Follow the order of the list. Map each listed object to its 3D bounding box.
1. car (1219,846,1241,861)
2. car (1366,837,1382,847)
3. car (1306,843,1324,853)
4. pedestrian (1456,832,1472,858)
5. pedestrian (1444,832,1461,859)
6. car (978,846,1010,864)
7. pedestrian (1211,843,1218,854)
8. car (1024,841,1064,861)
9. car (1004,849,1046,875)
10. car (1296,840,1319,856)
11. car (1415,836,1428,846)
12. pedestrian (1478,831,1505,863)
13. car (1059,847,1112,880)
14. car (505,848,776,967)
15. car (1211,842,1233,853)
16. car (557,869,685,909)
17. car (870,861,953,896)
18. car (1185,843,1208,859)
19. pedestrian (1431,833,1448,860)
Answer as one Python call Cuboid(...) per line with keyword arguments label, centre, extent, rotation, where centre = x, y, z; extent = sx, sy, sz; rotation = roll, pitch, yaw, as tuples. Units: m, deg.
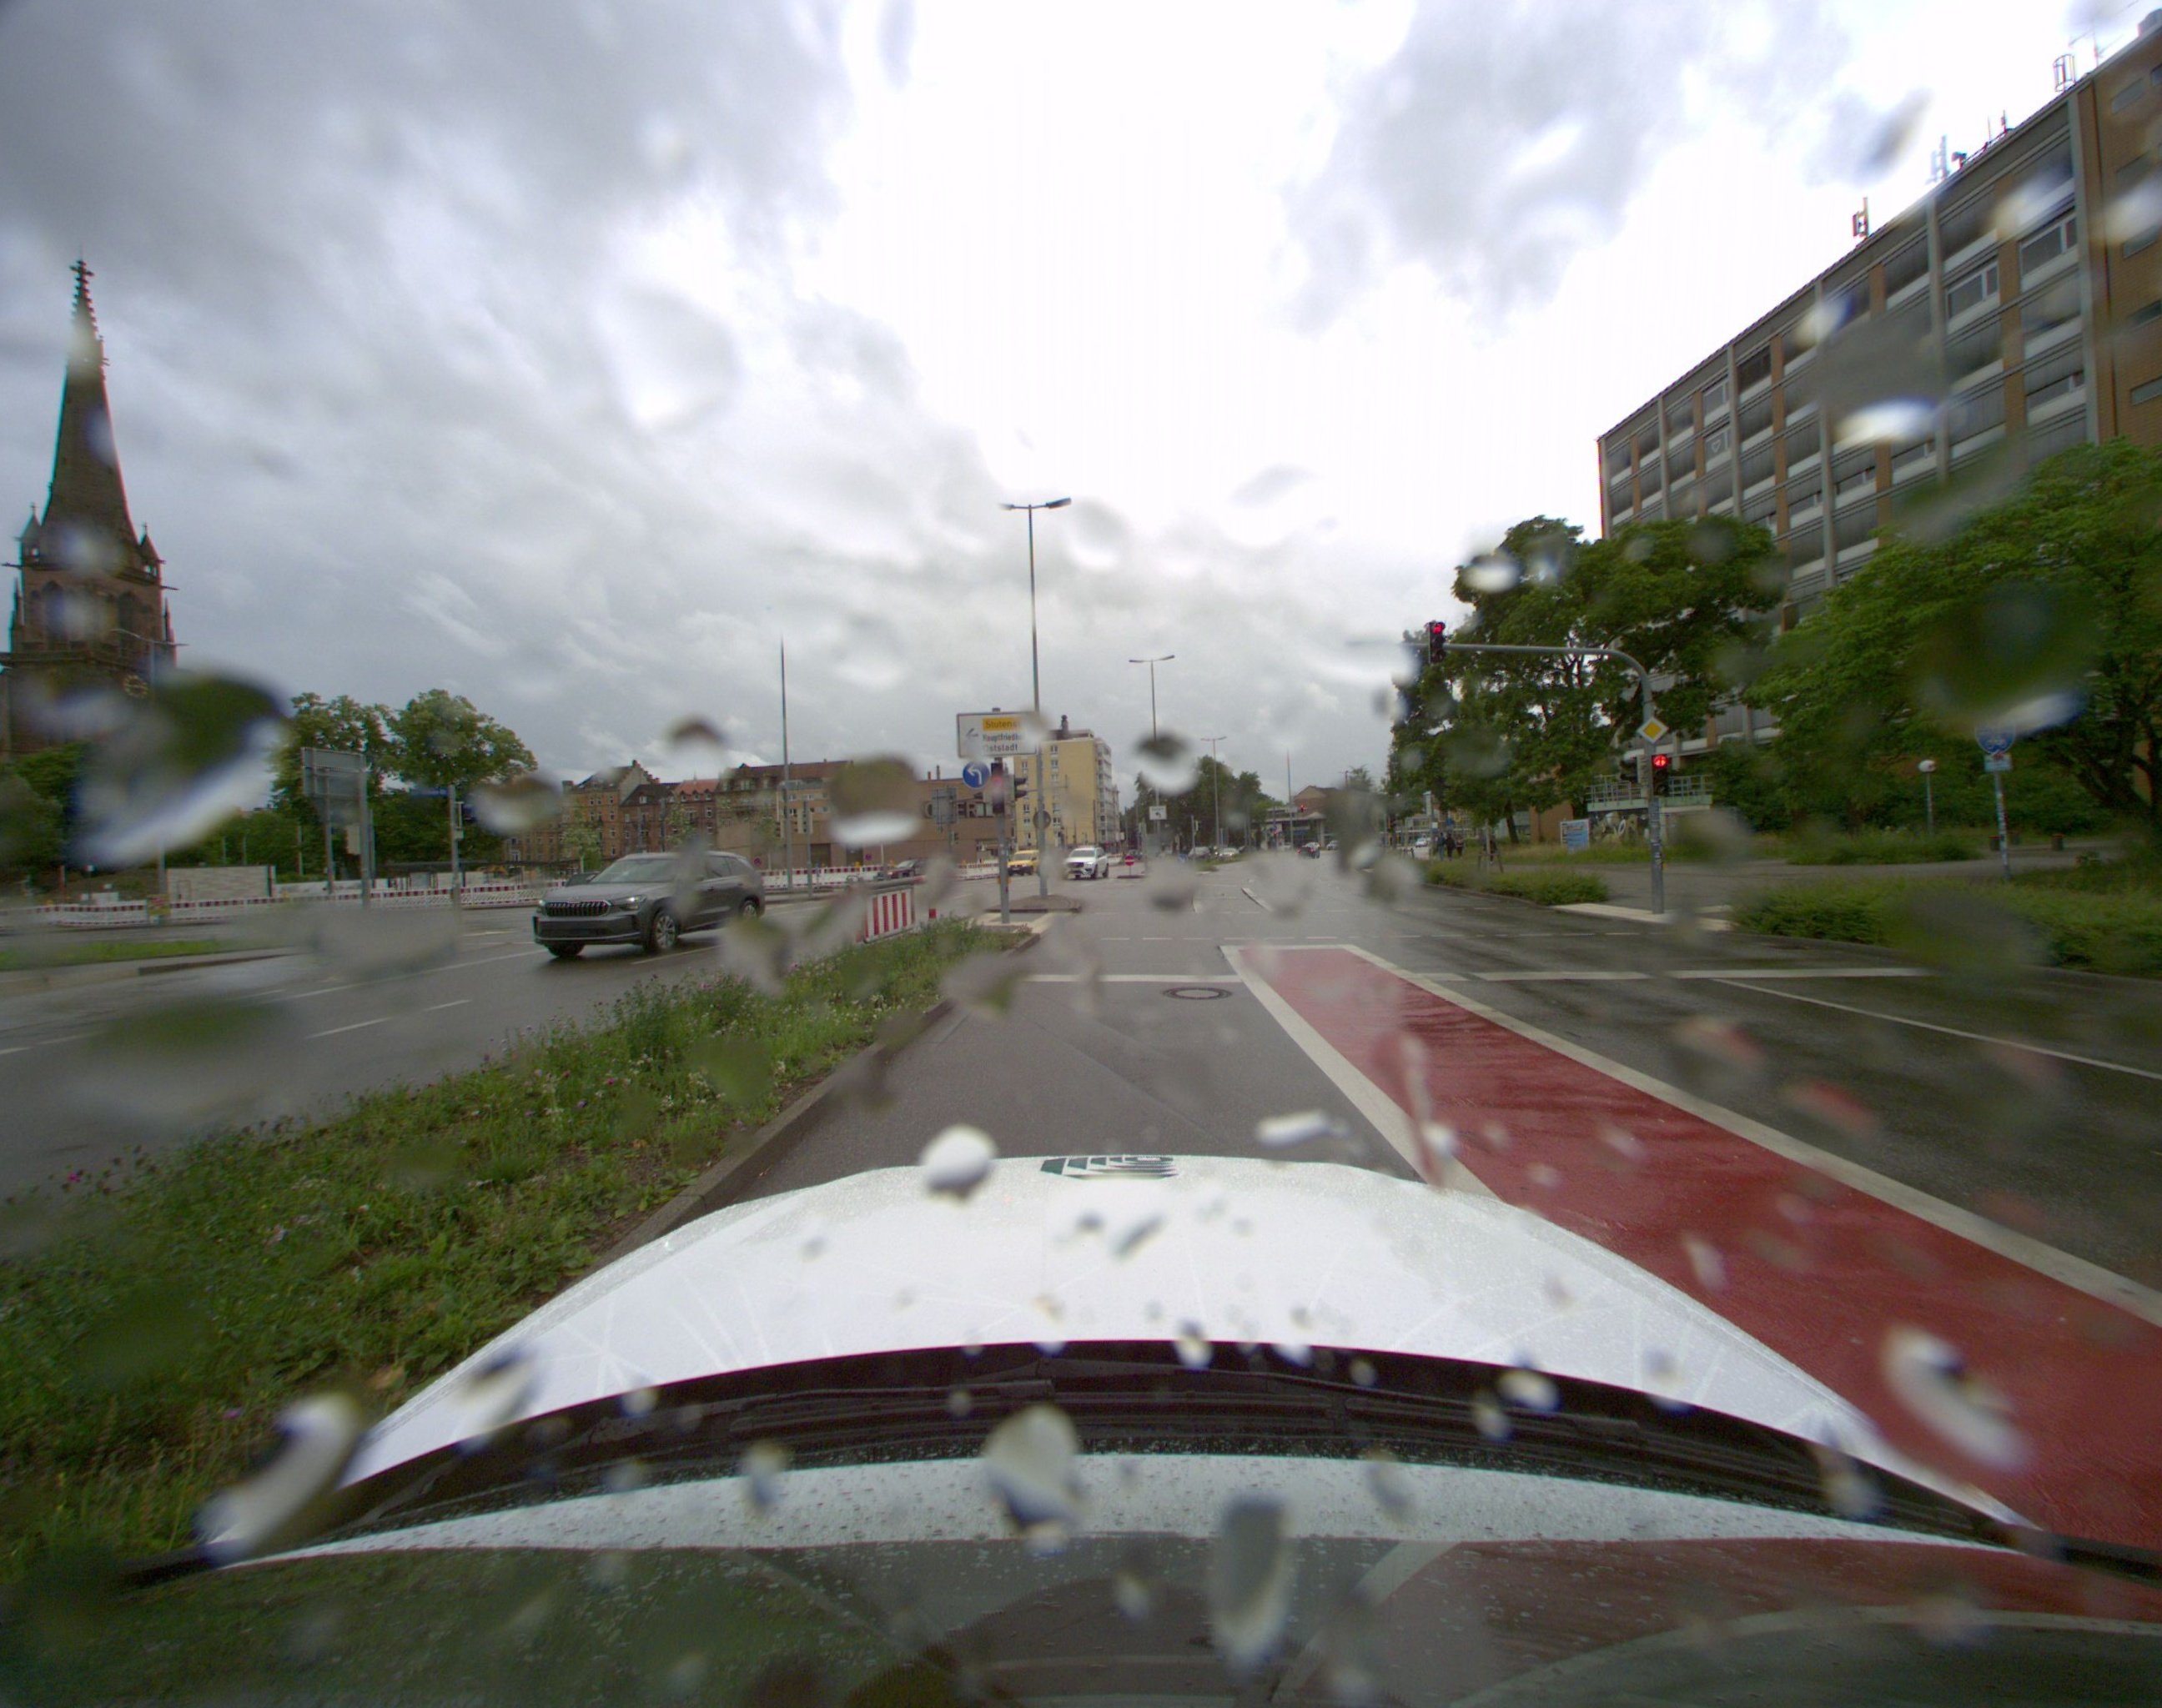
Cuboid(label="car", centre=(18.018, -0.049, 98.507), extent=(1.679, 1.415, 4.207), rotation=(-3, 2, 23))
Cuboid(label="car", centre=(56.623, -2.319, 157.334), extent=(1.772, 1.643, 4.072), rotation=(-2, 0, 36))
Cuboid(label="car", centre=(43.836, -1.138, 152.596), extent=(1.772, 1.643, 4.425), rotation=(-2, 0, 36))
Cuboid(label="pedestrian", centre=(23.518, -0.552, 50.005), extent=(0.698, 1.588, 0.940), rotation=(-2, 0, 14))
Cuboid(label="pedestrian", centre=(22.769, -0.517, 49.930), extent=(0.698, 1.588, 0.940), rotation=(-2, 0, 14))
Cuboid(label="car", centre=(-15.882, 0.154, 148.673), extent=(5.323, 2.887, 2.343), rotation=(-3, 0, 6))
Cuboid(label="pedestrian", centre=(24.174, -1.000, 147.637), extent=(1.088, 1.813, 1.118), rotation=(-3, 0, 0))
Cuboid(label="car", centre=(-6.628, -0.550, 147.493), extent=(6.707, 3.380, 2.814), rotation=(-3, 0, 6))
Cuboid(label="car", centre=(-3.917, 0.517, 57.753), extent=(1.693, 1.706, 4.169), rotation=(-2, 0, 14))
Cuboid(label="car", centre=(25.346, -0.714, 91.090), extent=(1.773, 1.643, 4.184), rotation=(-2, 0, 25))
Cuboid(label="car", centre=(56.342, -2.184, 134.680), extent=(1.773, 1.643, 4.184), rotation=(-2, 0, 25))
Cuboid(label="pedestrian", centre=(20.701, -0.346, 41.087), extent=(1.015, 1.588, 0.940), rotation=(-2, 0, 14))
Cuboid(label="car", centre=(0.338, 0.488, 46.559), extent=(1.813, 1.681, 5.185), rotation=(-1, 1, 14))
Cuboid(label="car", centre=(-7.436, 0.787, 14.443), extent=(1.985, 1.636, 4.607), rotation=(-4, 0, 3))
Cuboid(label="car", centre=(18.788, -0.861, 108.309), extent=(1.755, 1.376, 4.145), rotation=(-1, 0, 27))
Cuboid(label="car", centre=(-18.715, 1.411, 33.234), extent=(4.182, 1.402, 1.616), rotation=(-2, 0, -3))
Cuboid(label="car", centre=(-9.449, 1.365, 45.717), extent=(1.689, 1.706, 4.489), rotation=(-2, 0, 37))
Cuboid(label="car", centre=(13.751, -0.370, 96.981), extent=(1.679, 1.690, 4.206), rotation=(-3, 2, 21))
Cuboid(label="pedestrian", centre=(21.911, -0.473, 49.741), extent=(0.748, 1.588, 0.940), rotation=(-2, 0, 14))
